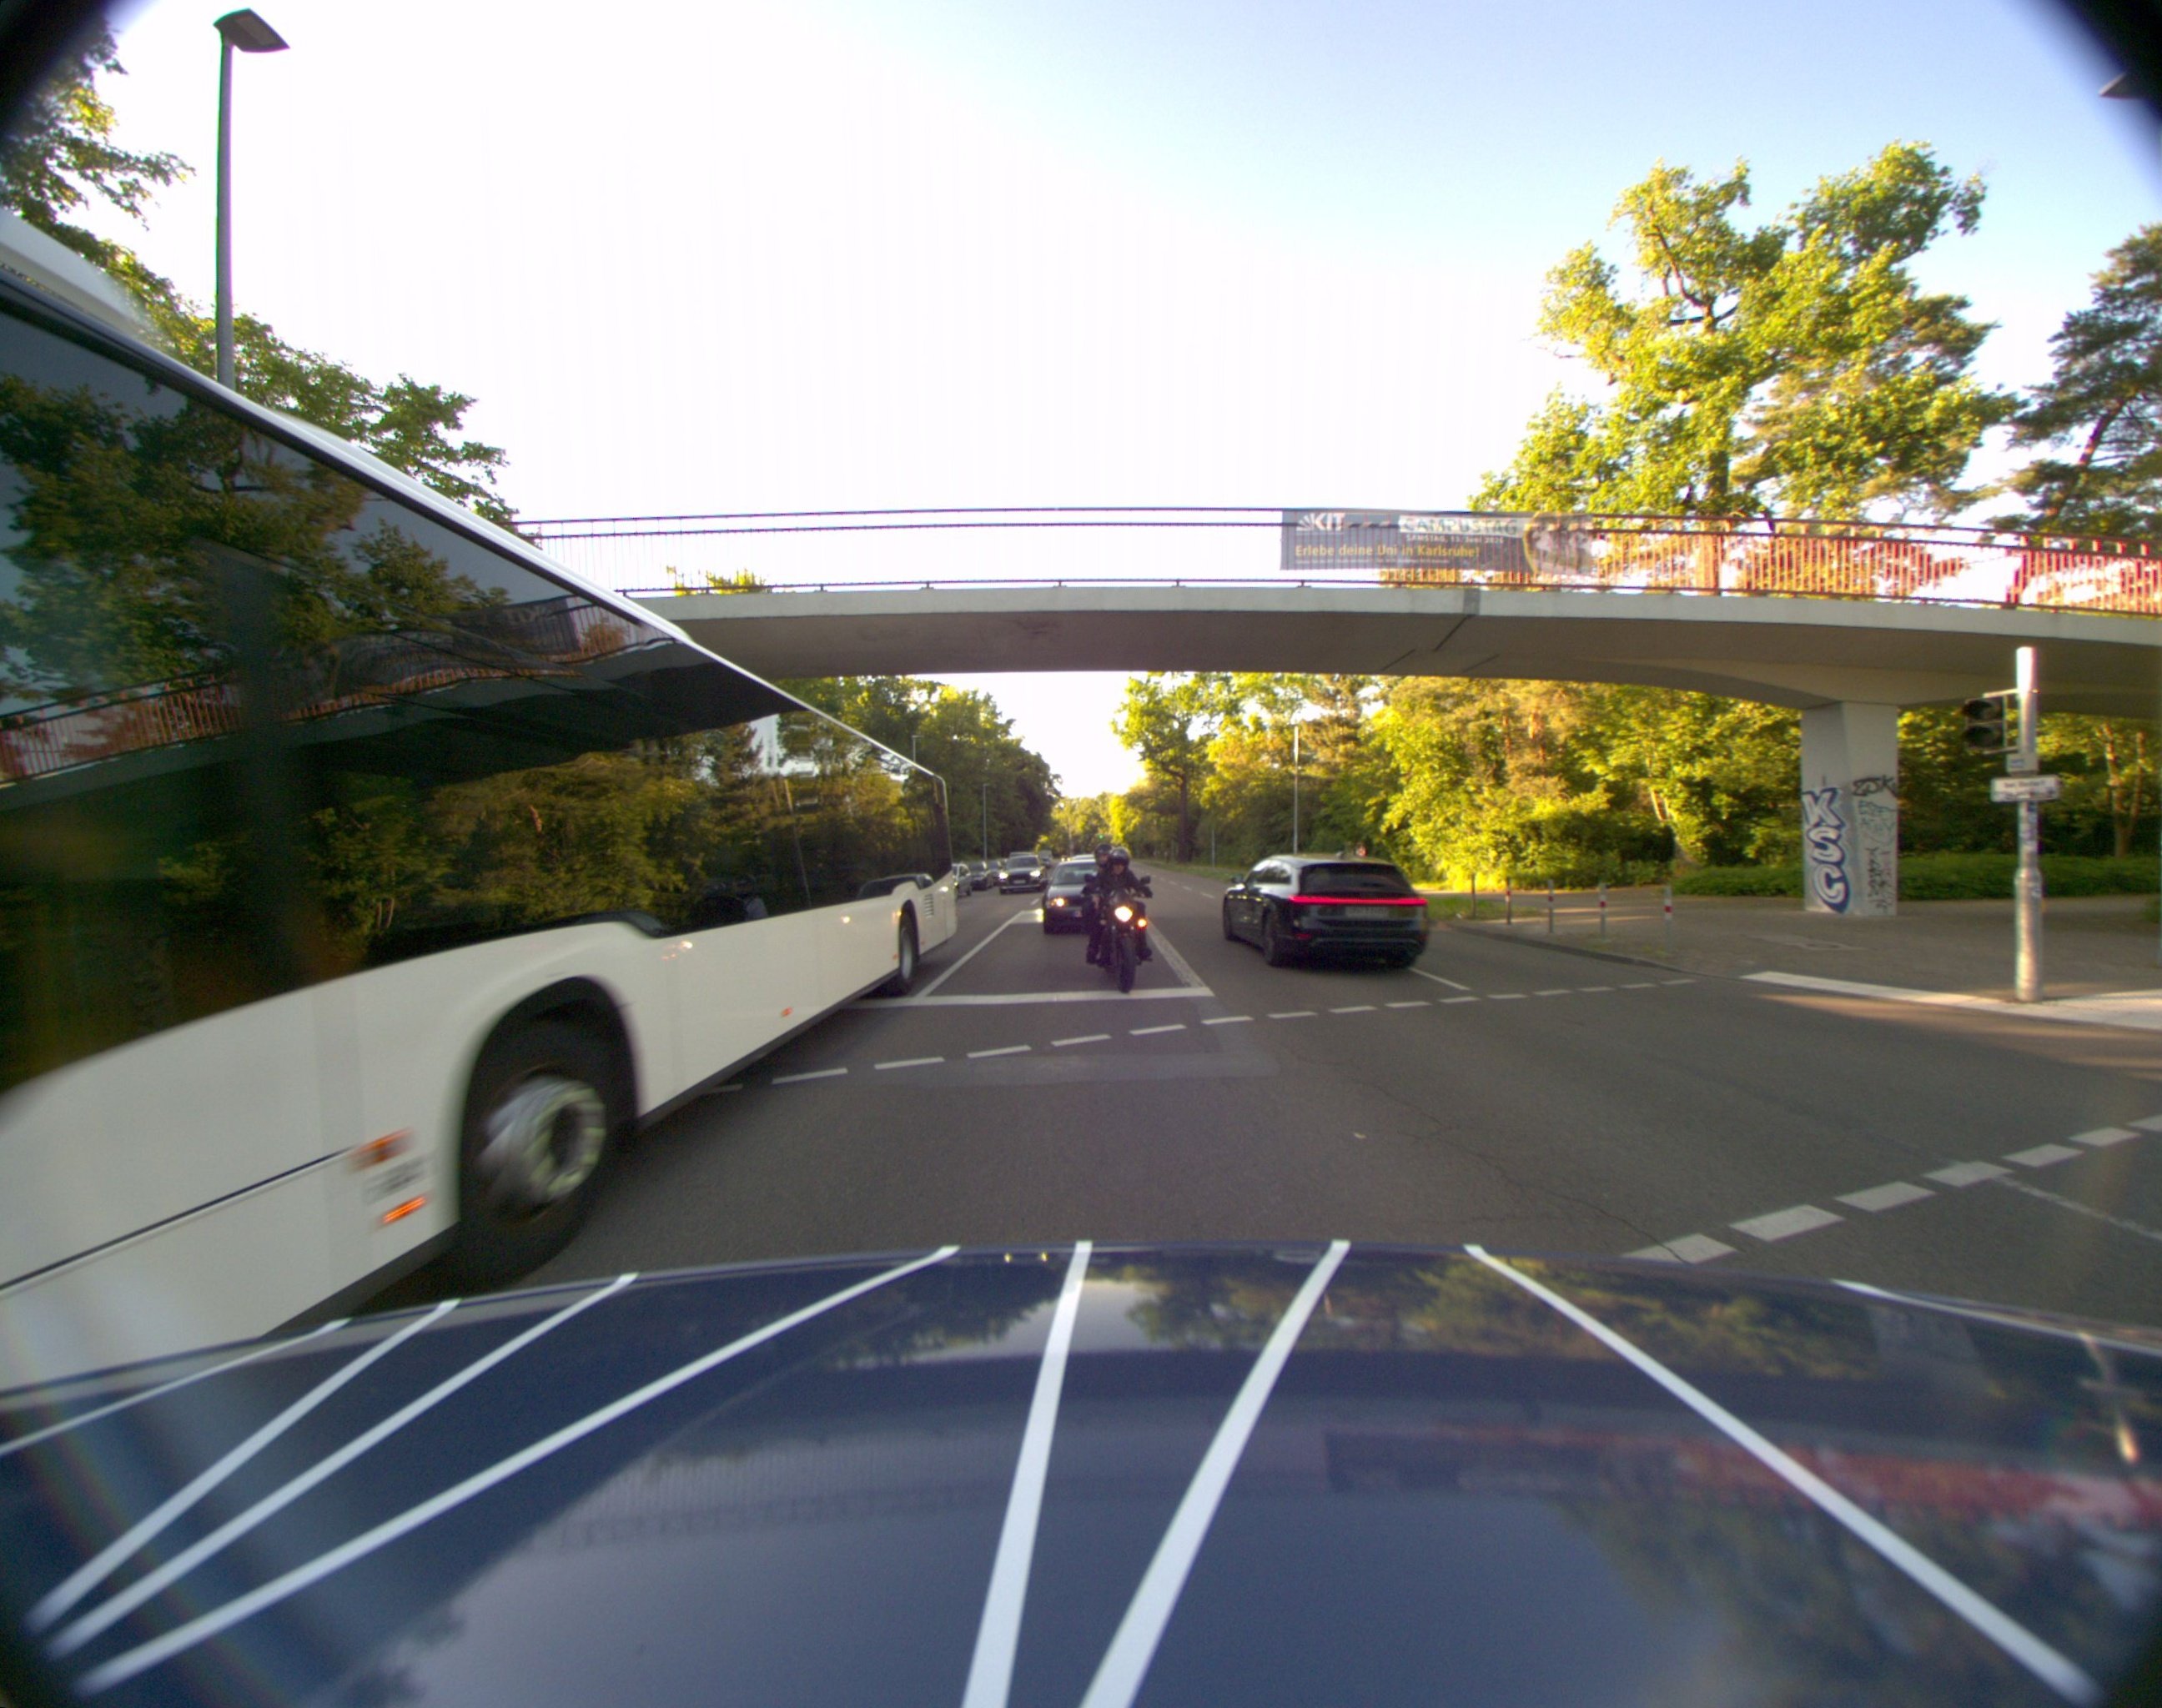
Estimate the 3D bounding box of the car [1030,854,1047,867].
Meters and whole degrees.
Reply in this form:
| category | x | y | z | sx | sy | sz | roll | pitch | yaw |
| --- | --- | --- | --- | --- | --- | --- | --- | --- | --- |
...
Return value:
| category | x | y | z | sx | sy | sz | roll | pitch | yaw |
| --- | --- | --- | --- | --- | --- | --- | --- | --- | --- |
| car | -5.092 | 0.780 | 91.500 | 1.894 | 1.537 | 4.395 | 0 | 0 | 0 |

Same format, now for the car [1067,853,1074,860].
| category | x | y | z | sx | sy | sz | roll | pitch | yaw |
| --- | --- | --- | --- | --- | --- | --- | --- | --- | --- |
| car | -2.256 | 0.532 | 162.997 | 1.465 | 1.237 | 4.000 | -1 | 0 | 0 |

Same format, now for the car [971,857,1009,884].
| category | x | y | z | sx | sy | sz | roll | pitch | yaw |
| --- | --- | --- | --- | --- | --- | --- | --- | --- | --- |
| car | -5.310 | 0.939 | 44.578 | 1.704 | 1.499 | 4.136 | 0 | 0 | 0 |

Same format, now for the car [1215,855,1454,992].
| category | x | y | z | sx | sy | sz | roll | pitch | yaw |
| --- | --- | --- | --- | --- | --- | --- | --- | --- | --- |
| car | 3.298 | 0.796 | 11.010 | 1.966 | 1.497 | 4.646 | 0 | 1 | 1 |

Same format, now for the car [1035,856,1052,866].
| category | x | y | z | sx | sy | sz | roll | pitch | yaw |
| --- | --- | --- | --- | --- | --- | --- | --- | --- | --- |
| car | -4.707 | 0.898 | 96.461 | 1.915 | 1.213 | 3.999 | -1 | 0 | 0 |

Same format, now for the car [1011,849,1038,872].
| category | x | y | z | sx | sy | sz | roll | pitch | yaw |
| --- | --- | --- | --- | --- | --- | --- | --- | --- | --- |
| car | -5.078 | 0.519 | 68.468 | 2.017 | 1.964 | 5.041 | 0 | 0 | 0 |

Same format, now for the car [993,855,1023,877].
| category | x | y | z | sx | sy | sz | roll | pitch | yaw |
| --- | --- | --- | --- | --- | --- | --- | --- | --- | --- |
| car | -5.296 | 0.861 | 55.495 | 1.737 | 1.499 | 4.395 | 0 | 0 | 0 |

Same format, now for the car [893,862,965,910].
| category | x | y | z | sx | sy | sz | roll | pitch | yaw |
| --- | --- | --- | --- | --- | --- | --- | --- | --- | --- |
| car | -5.393 | 1.102 | 27.400 | 1.694 | 1.499 | 4.125 | -1 | 0 | 0 |

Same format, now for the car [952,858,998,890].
| category | x | y | z | sx | sy | sz | roll | pitch | yaw |
| --- | --- | --- | --- | --- | --- | --- | --- | --- | --- |
| car | -5.382 | 0.987 | 39.102 | 1.737 | 1.499 | 4.153 | 0 | 0 | 0 |

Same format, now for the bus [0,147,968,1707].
| category | x | y | z | sx | sy | sz | roll | pitch | yaw |
| --- | --- | --- | --- | --- | --- | --- | --- | --- | --- |
| bus | -3.479 | 0.216 | 5.997 | 3.019 | 3.069 | 12.269 | -4 | 0 | 1 |

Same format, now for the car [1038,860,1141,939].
| category | x | y | z | sx | sy | sz | roll | pitch | yaw |
| --- | --- | --- | --- | --- | --- | --- | --- | --- | --- |
| car | 0.182 | 0.849 | 15.990 | 1.867 | 1.381 | 4.000 | -1 | 0 | 1 |

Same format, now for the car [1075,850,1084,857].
| category | x | y | z | sx | sy | sz | roll | pitch | yaw |
| --- | --- | --- | --- | --- | --- | --- | --- | --- | --- |
| car | -0.246 | -0.135 | 167.203 | 1.894 | 1.491 | 4.395 | 0 | 0 | 0 |

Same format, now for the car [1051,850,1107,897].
| category | x | y | z | sx | sy | sz | roll | pitch | yaw |
| --- | --- | --- | --- | --- | --- | --- | --- | --- | --- |
| car | -0.085 | 0.682 | 30.374 | 1.999 | 1.625 | 5.885 | -1 | 1 | 0 |

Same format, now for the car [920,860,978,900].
| category | x | y | z | sx | sy | sz | roll | pitch | yaw |
| --- | --- | --- | --- | --- | --- | --- | --- | --- | --- |
| car | -5.489 | 1.041 | 32.012 | 1.720 | 1.499 | 3.975 | 0 | 0 | 0 |

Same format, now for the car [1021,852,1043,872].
| category | x | y | z | sx | sy | sz | roll | pitch | yaw |
| --- | --- | --- | --- | --- | --- | --- | --- | --- | --- |
| car | -5.127 | 0.799 | 79.978 | 1.951 | 1.964 | 4.395 | 0 | 0 | 0 |

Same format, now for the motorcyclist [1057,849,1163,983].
| category | x | y | z | sx | sy | sz | roll | pitch | yaw |
| --- | --- | --- | --- | --- | --- | --- | --- | --- | --- |
| motorcyclist | 0.351 | 0.684 | 9.176 | 1.138 | 1.420 | 1.566 | -1 | 2 | 2 |

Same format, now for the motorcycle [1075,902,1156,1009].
| category | x | y | z | sx | sy | sz | roll | pitch | yaw |
| --- | --- | --- | --- | --- | --- | --- | --- | --- | --- |
| motorcycle | 0.402 | 1.128 | 9.179 | 0.807 | 0.907 | 2.713 | -2 | 0 | 2 |

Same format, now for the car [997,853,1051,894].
| category | x | y | z | sx | sy | sz | roll | pitch | yaw |
| --- | --- | --- | --- | --- | --- | --- | --- | --- | --- |
| car | -2.505 | 0.834 | 34.514 | 1.993 | 1.597 | 4.362 | -4 | 0 | 1 |

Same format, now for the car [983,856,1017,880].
| category | x | y | z | sx | sy | sz | roll | pitch | yaw |
| --- | --- | --- | --- | --- | --- | --- | --- | --- | --- |
| car | -5.325 | 0.873 | 50.197 | 1.737 | 1.499 | 4.226 | 0 | 0 | 0 |
